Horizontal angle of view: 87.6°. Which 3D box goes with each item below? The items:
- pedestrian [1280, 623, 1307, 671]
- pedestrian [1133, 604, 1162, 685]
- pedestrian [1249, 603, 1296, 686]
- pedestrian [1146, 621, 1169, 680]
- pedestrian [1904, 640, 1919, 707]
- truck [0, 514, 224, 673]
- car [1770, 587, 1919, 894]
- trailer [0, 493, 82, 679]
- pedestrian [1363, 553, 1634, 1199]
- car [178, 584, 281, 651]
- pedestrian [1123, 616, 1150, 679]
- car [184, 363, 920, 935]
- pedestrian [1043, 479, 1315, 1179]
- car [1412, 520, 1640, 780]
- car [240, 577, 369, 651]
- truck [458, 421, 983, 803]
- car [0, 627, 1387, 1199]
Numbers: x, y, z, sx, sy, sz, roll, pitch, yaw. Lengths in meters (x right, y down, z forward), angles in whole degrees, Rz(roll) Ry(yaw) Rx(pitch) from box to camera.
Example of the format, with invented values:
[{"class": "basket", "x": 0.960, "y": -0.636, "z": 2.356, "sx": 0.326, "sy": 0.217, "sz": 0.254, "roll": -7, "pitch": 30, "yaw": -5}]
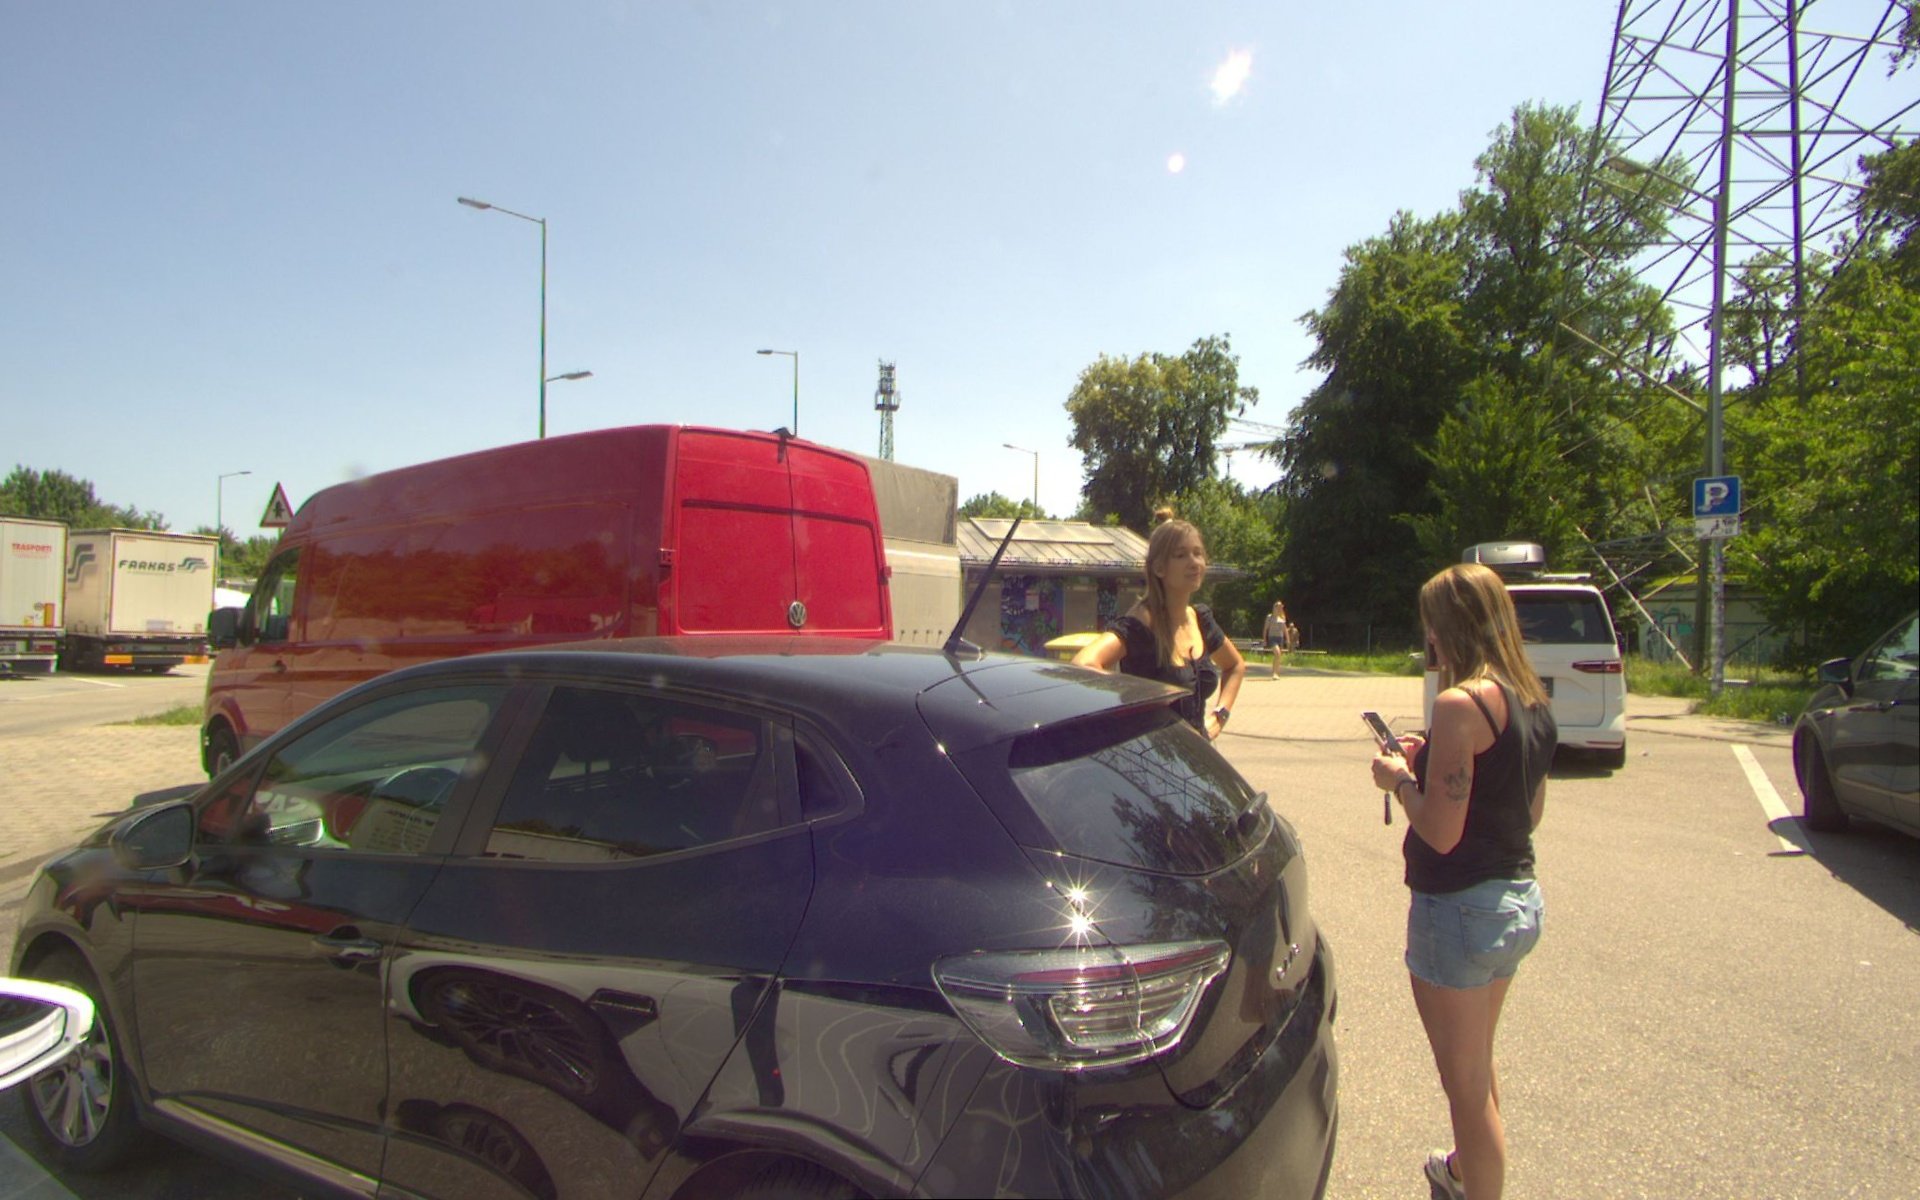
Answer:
[{"class": "pedestrian", "x": 14.262, "y": 2.005, "z": 42.795, "sx": 0.955, "sy": 2.039, "sz": 0.829, "roll": 0, "pitch": -1, "yaw": 10}, {"class": "pedestrian", "x": 4.210, "y": 0.987, "z": 22.457, "sx": 0.520, "sy": 1.783, "sz": 0.651, "roll": 0, "pitch": 0, "yaw": 23}, {"class": "pedestrian", "x": 7.372, "y": 1.044, "z": 23.649, "sx": 0.762, "sy": 1.903, "sz": 0.840, "roll": 0, "pitch": -1, "yaw": -11}, {"class": "pedestrian", "x": 4.584, "y": 1.162, "z": 23.233, "sx": 0.439, "sy": 1.362, "sz": 0.477, "roll": 0, "pitch": 0, "yaw": 23}, {"class": "pedestrian", "x": 17.111, "y": 1.283, "z": 17.445, "sx": 0.694, "sy": 1.178, "sz": 0.787, "roll": -1, "pitch": -1, "yaw": 22}, {"class": "truck", "x": -27.085, "y": -0.022, "z": 31.193, "sx": 11.800, "sy": 4.279, "sz": 2.582, "roll": -1, "pitch": -2, "yaw": 32}, {"class": "car", "x": 6.237, "y": 0.768, "z": 5.549, "sx": 1.809, "sy": 1.638, "sz": 4.154, "roll": 0, "pitch": -1, "yaw": 26}, {"class": "trailer", "x": -28.597, "y": -0.338, "z": 27.868, "sx": 12.642, "sy": 4.510, "sz": 2.677, "roll": 0, "pitch": -1, "yaw": 32}, {"class": "pedestrian", "x": 1.206, "y": 0.722, "z": 2.273, "sx": 0.478, "sy": 1.615, "sz": 0.501, "roll": 0, "pitch": 0, "yaw": 29}, {"class": "car", "x": -29.938, "y": 0.758, "z": 41.029, "sx": 3.943, "sy": 2.632, "sz": 2.111, "roll": -1, "pitch": -2, "yaw": 32}, {"class": "pedestrian", "x": 4.199, "y": 1.126, "z": 23.775, "sx": 0.521, "sy": 1.478, "sz": 0.576, "roll": 0, "pitch": 0, "yaw": 23}, {"class": "car", "x": -3.380, "y": 0.256, "z": 7.351, "sx": 6.298, "sy": 2.668, "sz": 1.988, "roll": 0, "pitch": -1, "yaw": 36}, {"class": "pedestrian", "x": 0.727, "y": 0.628, "z": 3.202, "sx": 0.481, "sy": 1.884, "sz": 0.906, "roll": 0, "pitch": -1, "yaw": 39}, {"class": "car", "x": 6.650, "y": 0.526, "z": 11.887, "sx": 1.901, "sy": 2.401, "sz": 4.954, "roll": 1, "pitch": -1, "yaw": 29}, {"class": "car", "x": -29.467, "y": 0.605, "z": 44.946, "sx": 6.259, "sy": 3.114, "sz": 2.495, "roll": 0, "pitch": -1, "yaw": 32}, {"class": "truck", "x": -2.433, "y": 0.175, "z": 9.878, "sx": 4.751, "sy": 2.863, "sz": 2.514, "roll": -1, "pitch": -2, "yaw": 34}, {"class": "car", "x": -0.817, "y": 0.831, "z": 2.795, "sx": 3.627, "sy": 1.476, "sz": 1.777, "roll": -1, "pitch": -2, "yaw": 26}]
